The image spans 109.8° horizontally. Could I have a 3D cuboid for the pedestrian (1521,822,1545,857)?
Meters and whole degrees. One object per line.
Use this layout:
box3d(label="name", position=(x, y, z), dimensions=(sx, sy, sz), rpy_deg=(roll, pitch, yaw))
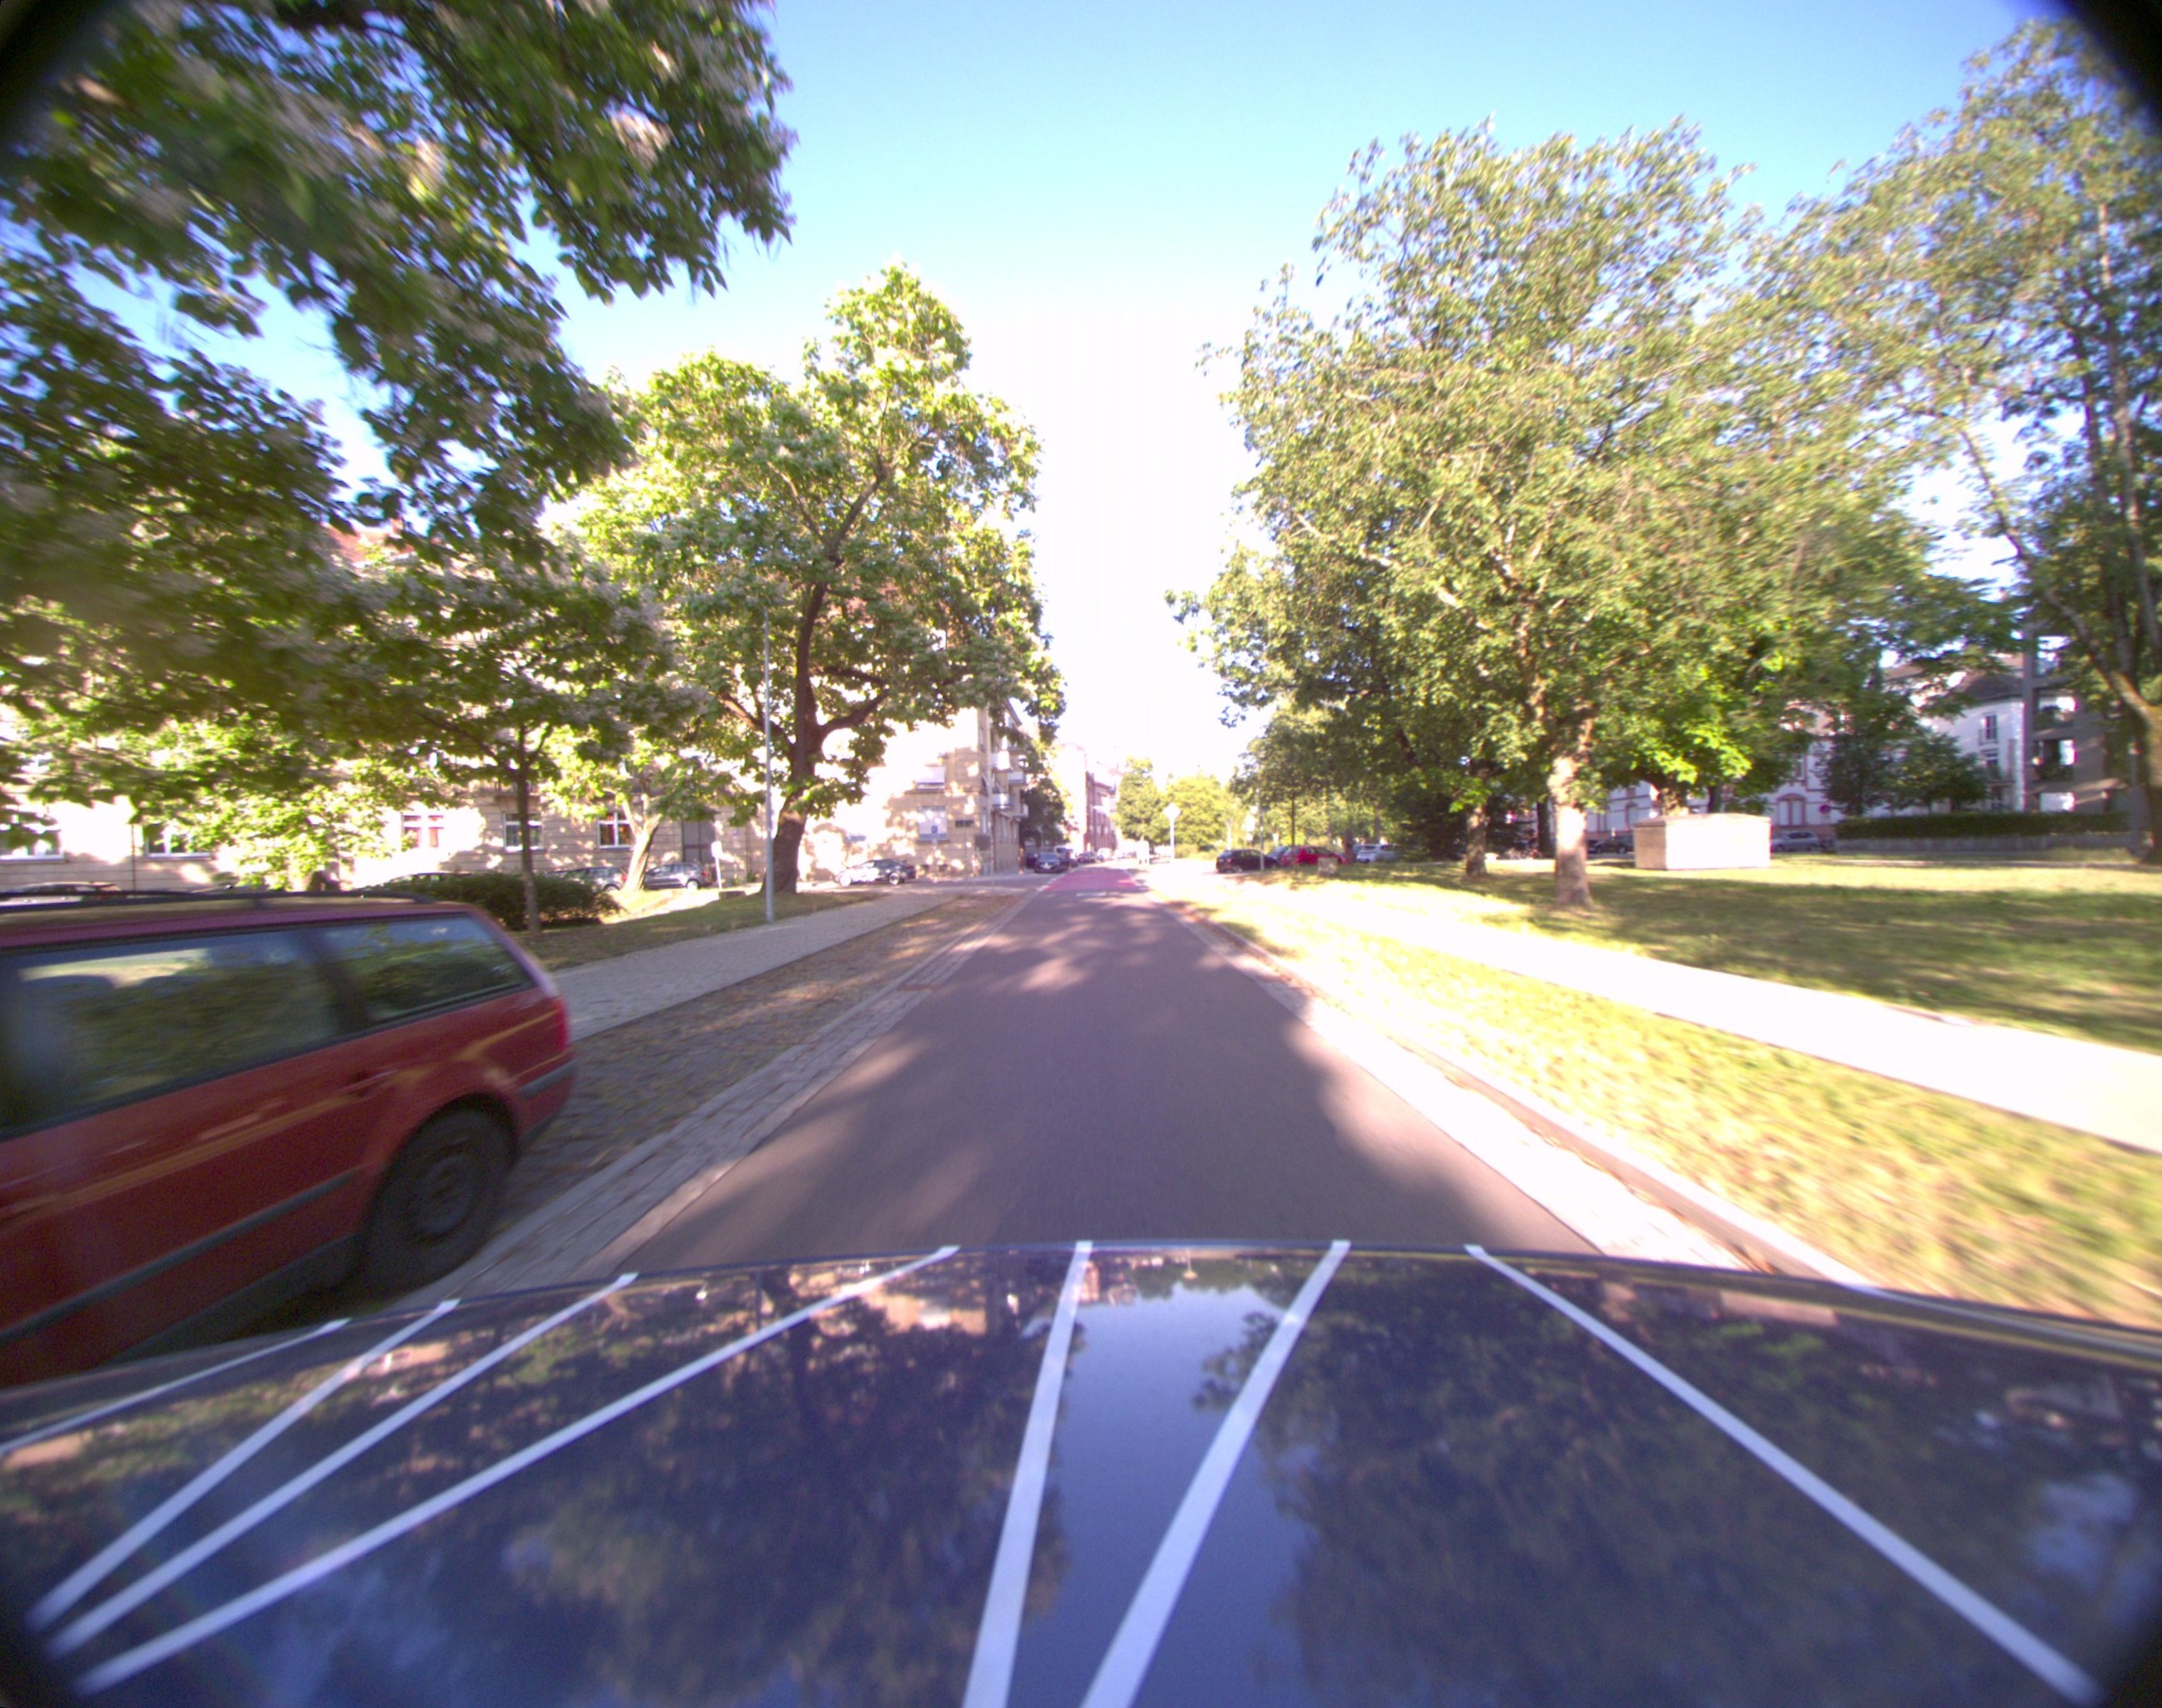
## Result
box3d(label="pedestrian", position=(21.807, -0.696, 36.677), dimensions=(0.664, 1.686, 0.672), rpy_deg=(-3, 1, -7))

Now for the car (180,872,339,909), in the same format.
box3d(label="car", position=(-38.151, 1.661, 35.489), dimensions=(4.657, 1.409, 1.815), rpy_deg=(-2, 1, -30))

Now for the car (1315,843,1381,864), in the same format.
box3d(label="car", position=(19.174, -0.063, 54.549), dimensions=(4.281, 1.392, 1.836), rpy_deg=(-2, 1, -21))

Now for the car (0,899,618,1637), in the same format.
box3d(label="car", position=(-3.265, 1.028, 1.497), dimensions=(1.682, 1.477, 4.809), rpy_deg=(-1, 1, 1))

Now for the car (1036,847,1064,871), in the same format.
box3d(label="car", position=(-2.204, 0.355, 55.098), dimensions=(1.707, 1.616, 4.349), rpy_deg=(1, 0, 1))

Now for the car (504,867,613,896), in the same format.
box3d(label="car", position=(-27.458, 1.423, 40.069), dimensions=(4.458, 1.317, 1.502), rpy_deg=(-2, 1, -21))

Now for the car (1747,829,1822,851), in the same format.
box3d(label="car", position=(54.203, -1.064, 58.582), dimensions=(3.997, 1.565, 1.890), rpy_deg=(-2, 2, 1))

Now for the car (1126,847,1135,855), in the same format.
box3d(label="car", position=(10.174, -0.574, 155.332), dimensions=(1.582, 1.499, 3.848), rpy_deg=(-1, 1, 8))

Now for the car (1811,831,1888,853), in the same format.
box3d(label="car", position=(59.090, -0.945, 58.460), dimensions=(3.997, 1.565, 1.890), rpy_deg=(-2, 2, 1))

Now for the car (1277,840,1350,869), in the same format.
box3d(label="car", position=(14.181, -0.015, 46.345), dimensions=(4.004, 1.565, 1.886), rpy_deg=(-3, 3, -24))

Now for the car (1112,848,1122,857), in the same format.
box3d(label="car", position=(6.529, -0.345, 137.623), dimensions=(1.582, 1.499, 3.848), rpy_deg=(-1, 1, 8))

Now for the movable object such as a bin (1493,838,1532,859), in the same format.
box3d(label="movable object such as a bin", position=(20.823, -0.259, 36.652), dimensions=(1.333, 0.984, 0.949), rpy_deg=(-1, 1, -7))

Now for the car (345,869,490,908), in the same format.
box3d(label="car", position=(-28.797, 1.455, 33.135), dimensions=(4.443, 1.409, 1.563), rpy_deg=(-2, 1, -22))

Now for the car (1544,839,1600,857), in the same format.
box3d(label="car", position=(43.526, -0.540, 67.371), dimensions=(3.988, 1.565, 1.894), rpy_deg=(0, 3, 41))

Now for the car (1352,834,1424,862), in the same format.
box3d(label="car", position=(19.522, -0.397, 48.322), dimensions=(4.003, 1.565, 1.887), rpy_deg=(-2, 3, -20))

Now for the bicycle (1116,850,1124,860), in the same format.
box3d(label="bicycle", position=(4.449, 0.112, 85.938), dimensions=(0.739, 1.129, 2.105), rpy_deg=(-2, 1, 7))

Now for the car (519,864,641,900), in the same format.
box3d(label="car", position=(-23.116, 1.273, 35.269), dimensions=(4.370, 1.409, 1.842), rpy_deg=(-2, 1, -19))

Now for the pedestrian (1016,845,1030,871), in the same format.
box3d(label="pedestrian", position=(-4.256, 0.288, 55.943), dimensions=(0.733, 1.820, 0.555), rpy_deg=(-3, 1, -35))

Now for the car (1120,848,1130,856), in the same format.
box3d(label="car", position=(8.684, -0.426, 148.421), dimensions=(1.582, 1.499, 3.848), rpy_deg=(-1, 1, 8))

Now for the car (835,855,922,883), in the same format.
box3d(label="car", position=(-11.478, 0.857, 43.221), dimensions=(4.452, 1.411, 1.934), rpy_deg=(-1, 1, -4))

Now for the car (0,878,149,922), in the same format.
box3d(label="car", position=(-38.567, 1.723, 28.350), dimensions=(4.378, 1.409, 1.815), rpy_deg=(-2, 1, -29))

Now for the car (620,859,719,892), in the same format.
box3d(label="car", position=(-22.416, 1.166, 41.567), dimensions=(4.456, 1.591, 1.800), rpy_deg=(-2, 1, -17))

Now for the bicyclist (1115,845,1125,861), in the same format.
box3d(label="bicyclist", position=(4.435, -0.107, 85.881), dimensions=(0.939, 1.693, 0.906), rpy_deg=(-2, 1, 7))

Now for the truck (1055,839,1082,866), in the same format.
box3d(label="truck", position=(-1.227, -0.176, 77.029), dimensions=(2.133, 2.549, 6.877), rpy_deg=(-1, 1, 3))

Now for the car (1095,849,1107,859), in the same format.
box3d(label="car", position=(3.029, -0.046, 116.170), dimensions=(1.509, 1.437, 3.731), rpy_deg=(-1, 1, 7))

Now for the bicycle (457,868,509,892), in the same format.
box3d(label="bicycle", position=(-33.196, 1.411, 42.226), dimensions=(2.126, 1.223, 0.613), rpy_deg=(-2, 2, -23))

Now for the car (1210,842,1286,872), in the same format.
box3d(label="car", position=(9.807, 0.139, 44.658), dimensions=(4.004, 1.565, 1.886), rpy_deg=(-3, 3, -24))

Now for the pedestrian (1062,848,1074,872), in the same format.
box3d(label="pedestrian", position=(-0.948, 0.447, 56.417), dimensions=(0.778, 1.759, 0.955), rpy_deg=(-2, 1, 2))

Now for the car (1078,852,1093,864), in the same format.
box3d(label="car", position=(0.593, 0.500, 99.433), dimensions=(1.610, 1.349, 3.549), rpy_deg=(-1, 1, 7))

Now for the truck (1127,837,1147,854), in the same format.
box3d(label="truck", position=(12.170, -1.873, 164.820), dimensions=(3.017, 3.423, 7.629), rpy_deg=(-1, 1, 13))

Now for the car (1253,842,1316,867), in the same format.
box3d(label="car", position=(14.095, 0.032, 52.605), dimensions=(3.851, 1.622, 1.836), rpy_deg=(-2, 1, -23))
